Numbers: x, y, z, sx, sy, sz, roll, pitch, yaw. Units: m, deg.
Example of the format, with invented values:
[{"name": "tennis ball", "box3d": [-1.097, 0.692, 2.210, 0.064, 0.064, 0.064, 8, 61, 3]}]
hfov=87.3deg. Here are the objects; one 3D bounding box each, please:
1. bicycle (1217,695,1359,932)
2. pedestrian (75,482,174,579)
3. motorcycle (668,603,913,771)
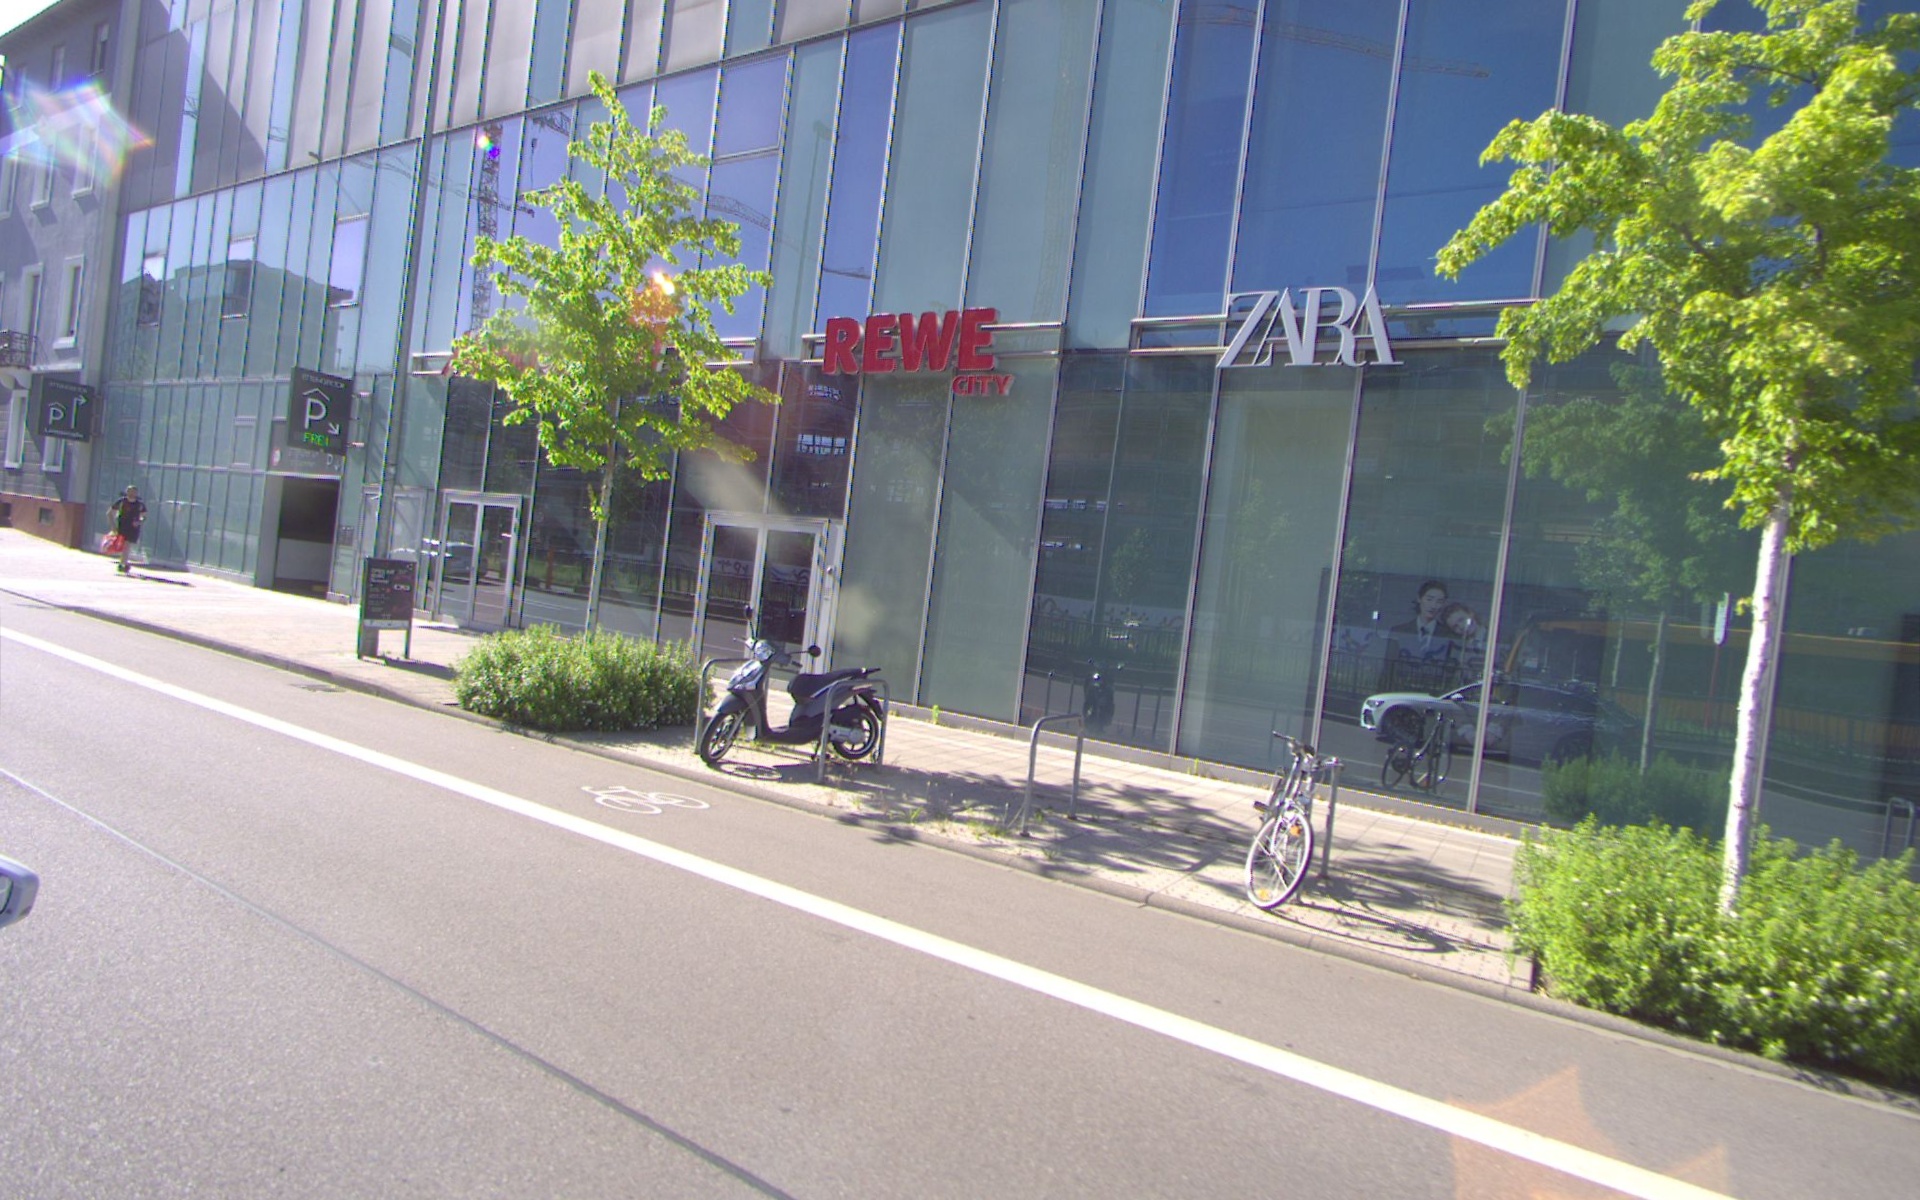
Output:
[{"name": "bicycle", "box3d": [2.254, 1.319, 6.757, 0.659, 1.166, 1.886, 7, 1, 22]}, {"name": "pedestrian", "box3d": [-18.214, -1.506, 21.939, 1.497, 1.887, 1.096, 7, 1, 31]}, {"name": "motorcycle", "box3d": [-1.526, 0.794, 9.264, 2.059, 1.372, 0.646, 4, 2, -35]}]
